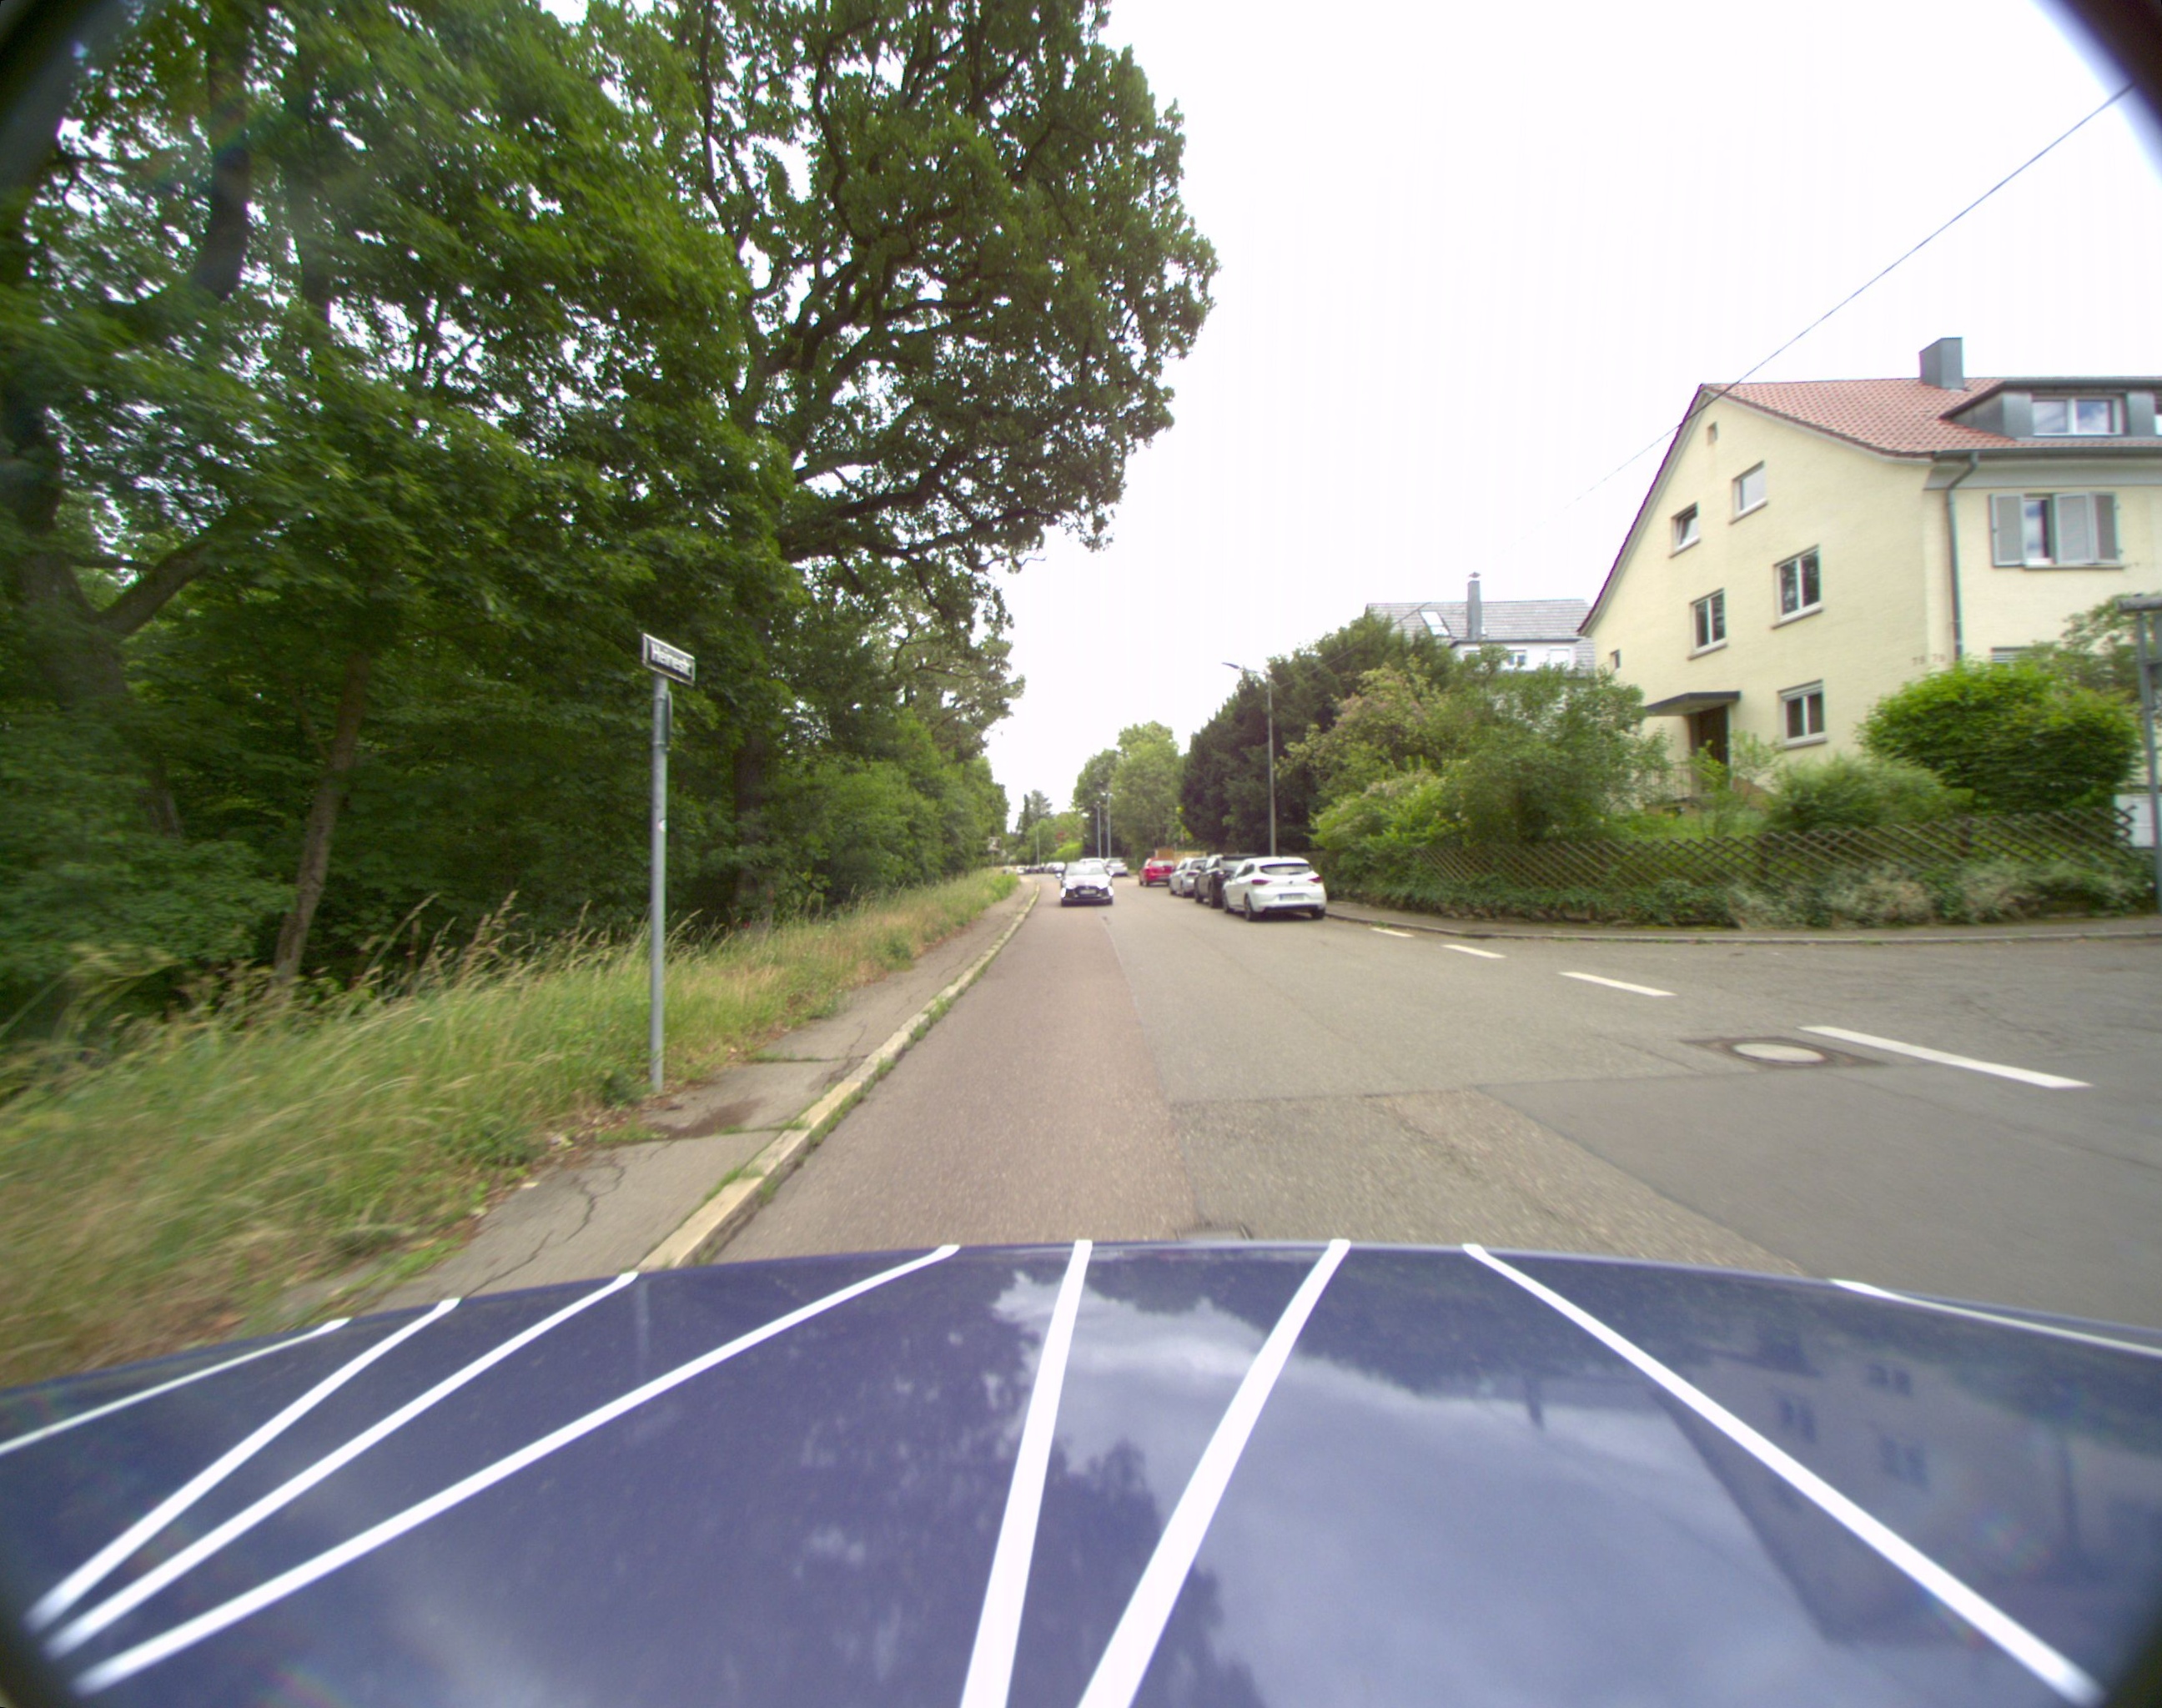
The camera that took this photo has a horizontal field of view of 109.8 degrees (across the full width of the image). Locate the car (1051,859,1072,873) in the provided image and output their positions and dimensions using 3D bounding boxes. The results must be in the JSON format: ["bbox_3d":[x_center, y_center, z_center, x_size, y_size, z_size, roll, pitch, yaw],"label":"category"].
[{"bbox_3d":[-2.522,1.565,96.867,2.000,1.678,4.707,-2,0,-10],"label":"car"}]

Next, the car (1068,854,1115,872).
[{"bbox_3d":[1.049,0.959,78.180,4.708,1.678,1.999,-2,0,-3],"label":"car"}]

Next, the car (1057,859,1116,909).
[{"bbox_3d":[0.150,0.968,26.118,1.788,1.491,4.014,-2,0,-1],"label":"car"}]

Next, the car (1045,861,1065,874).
[{"bbox_3d":[-3.642,1.856,104.935,2.000,1.678,4.706,-2,0,-10],"label":"car"}]

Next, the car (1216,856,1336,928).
[{"bbox_3d":[4.575,0.831,18.432,1.788,1.491,4.014,-2,0,-1],"label":"car"}]

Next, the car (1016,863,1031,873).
[{"bbox_3d":[-9.862,2.346,129.937,1.801,1.678,3.495,-2,0,-18],"label":"car"}]

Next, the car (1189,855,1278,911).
[{"bbox_3d":[4.480,0.800,22.901,1.788,1.491,4.014,-2,0,-1],"label":"car"}]

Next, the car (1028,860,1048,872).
[{"bbox_3d":[-6.735,1.840,118.571,2.001,1.678,4.704,-2,0,-17],"label":"car"}]

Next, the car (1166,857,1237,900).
[{"bbox_3d":[4.429,0.863,28.566,1.788,1.431,4.323,-2,0,-2],"label":"car"}]

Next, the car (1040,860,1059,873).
[{"bbox_3d":[-4.620,1.817,110.713,2.000,1.678,4.706,-2,0,-10],"label":"car"}]

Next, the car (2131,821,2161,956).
[{"bbox_3d":[13.791,0.236,7.529,3.996,1.474,1.723,-4,-1,5],"label":"car"}]

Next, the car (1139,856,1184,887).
[{"bbox_3d":[4.074,0.866,38.846,1.741,1.431,3.787,-2,0,-2],"label":"car"}]

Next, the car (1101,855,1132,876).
[{"bbox_3d":[2.673,0.860,58.196,1.765,1.441,4.041,-2,0,-6],"label":"car"}]
